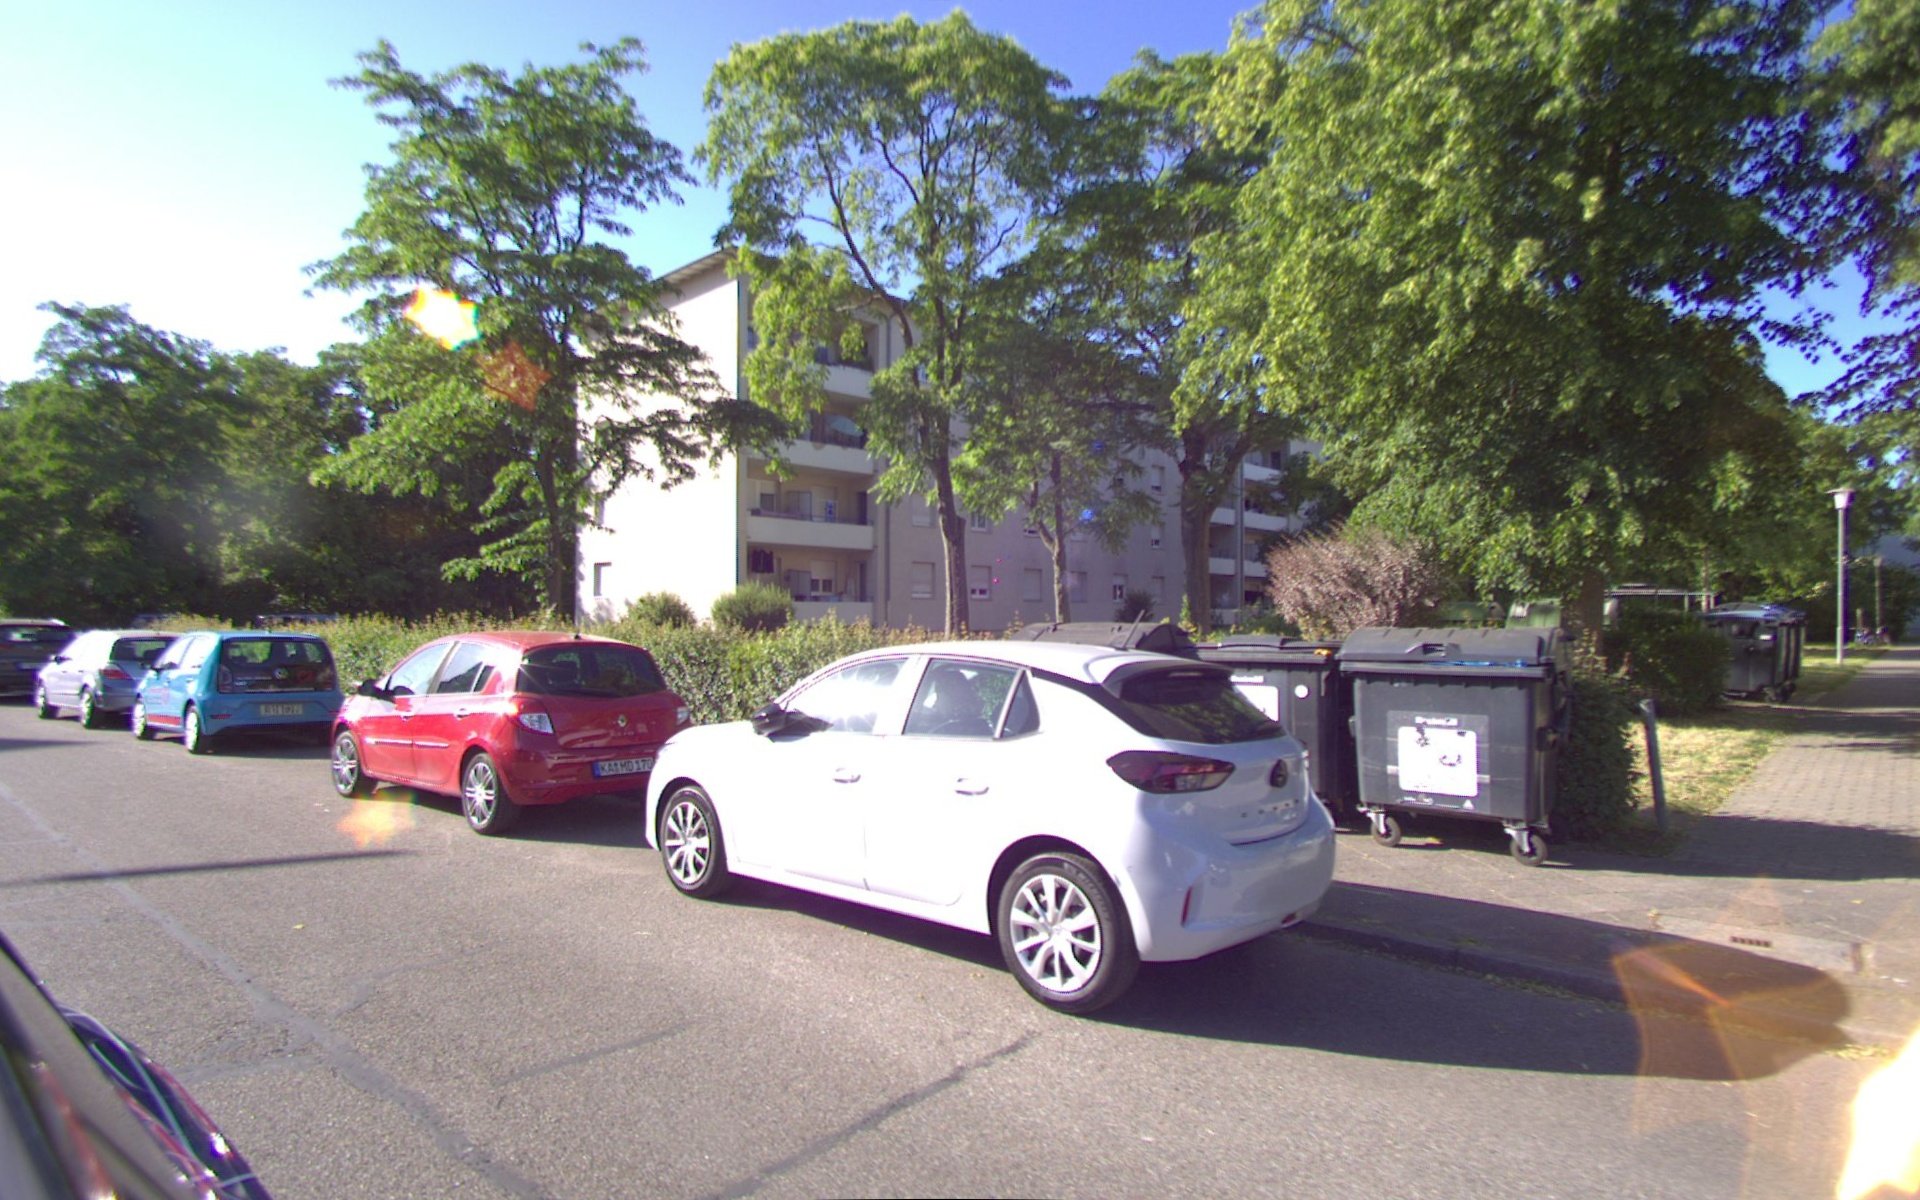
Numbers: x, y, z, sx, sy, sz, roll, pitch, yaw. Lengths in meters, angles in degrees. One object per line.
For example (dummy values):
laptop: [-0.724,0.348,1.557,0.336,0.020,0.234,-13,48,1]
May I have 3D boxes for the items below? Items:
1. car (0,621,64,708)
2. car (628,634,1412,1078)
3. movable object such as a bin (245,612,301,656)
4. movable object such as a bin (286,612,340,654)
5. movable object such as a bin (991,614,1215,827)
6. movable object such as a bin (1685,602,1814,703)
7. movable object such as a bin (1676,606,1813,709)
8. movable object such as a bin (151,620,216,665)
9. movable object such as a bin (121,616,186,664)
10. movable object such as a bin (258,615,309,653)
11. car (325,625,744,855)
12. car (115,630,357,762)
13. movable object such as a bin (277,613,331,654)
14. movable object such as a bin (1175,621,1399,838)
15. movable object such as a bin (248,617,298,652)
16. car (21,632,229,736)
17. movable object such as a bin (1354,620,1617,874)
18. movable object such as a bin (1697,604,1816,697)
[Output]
car: [-19.728,1.259,20.418,4.357,1.630,1.731,-1,-2,39]
car: [0.056,0.913,5.277,3.900,1.432,1.652,-1,-3,42]
movable object such as a bin: [-24.241,1.183,35.702,1.276,1.500,1.247,-1,-2,34]
movable object such as a bin: [-23.543,1.194,36.817,1.276,1.500,1.247,-1,-2,34]
movable object such as a bin: [1.141,0.884,8.070,1.406,1.510,1.100,-2,-2,37]
movable object such as a bin: [12.238,0.789,15.689,1.494,1.464,1.279,-1,-2,41]
movable object such as a bin: [11.376,0.799,14.680,1.494,1.399,1.279,-1,-2,41]
movable object such as a bin: [-24.978,1.353,32.559,1.258,1.412,1.266,-1,-2,31]
movable object such as a bin: [-26.629,1.304,33.421,1.273,1.563,1.250,-1,-1,27]
movable object such as a bin: [-25.967,1.291,38.853,1.508,1.419,1.263,-1,-2,40]
car: [-3.642,0.973,8.427,3.674,1.485,1.654,-1,-3,39]
car: [-9.650,1.166,13.411,3.674,1.485,1.654,-1,-3,39]
movable object such as a bin: [-24.589,1.231,37.932,1.506,1.500,1.264,-1,-2,36]
movable object such as a bin: [2.409,0.876,7.471,1.312,1.429,0.979,-2,-2,37]
movable object such as a bin: [-27.145,1.341,39.960,1.508,1.365,1.263,-1,-2,40]
car: [-13.524,1.265,16.326,3.993,1.448,1.655,-1,-3,37]
movable object such as a bin: [3.384,0.856,6.530,1.313,1.429,0.978,-2,-2,39]
movable object such as a bin: [13.300,0.815,16.895,1.494,1.464,1.279,-1,-2,41]
